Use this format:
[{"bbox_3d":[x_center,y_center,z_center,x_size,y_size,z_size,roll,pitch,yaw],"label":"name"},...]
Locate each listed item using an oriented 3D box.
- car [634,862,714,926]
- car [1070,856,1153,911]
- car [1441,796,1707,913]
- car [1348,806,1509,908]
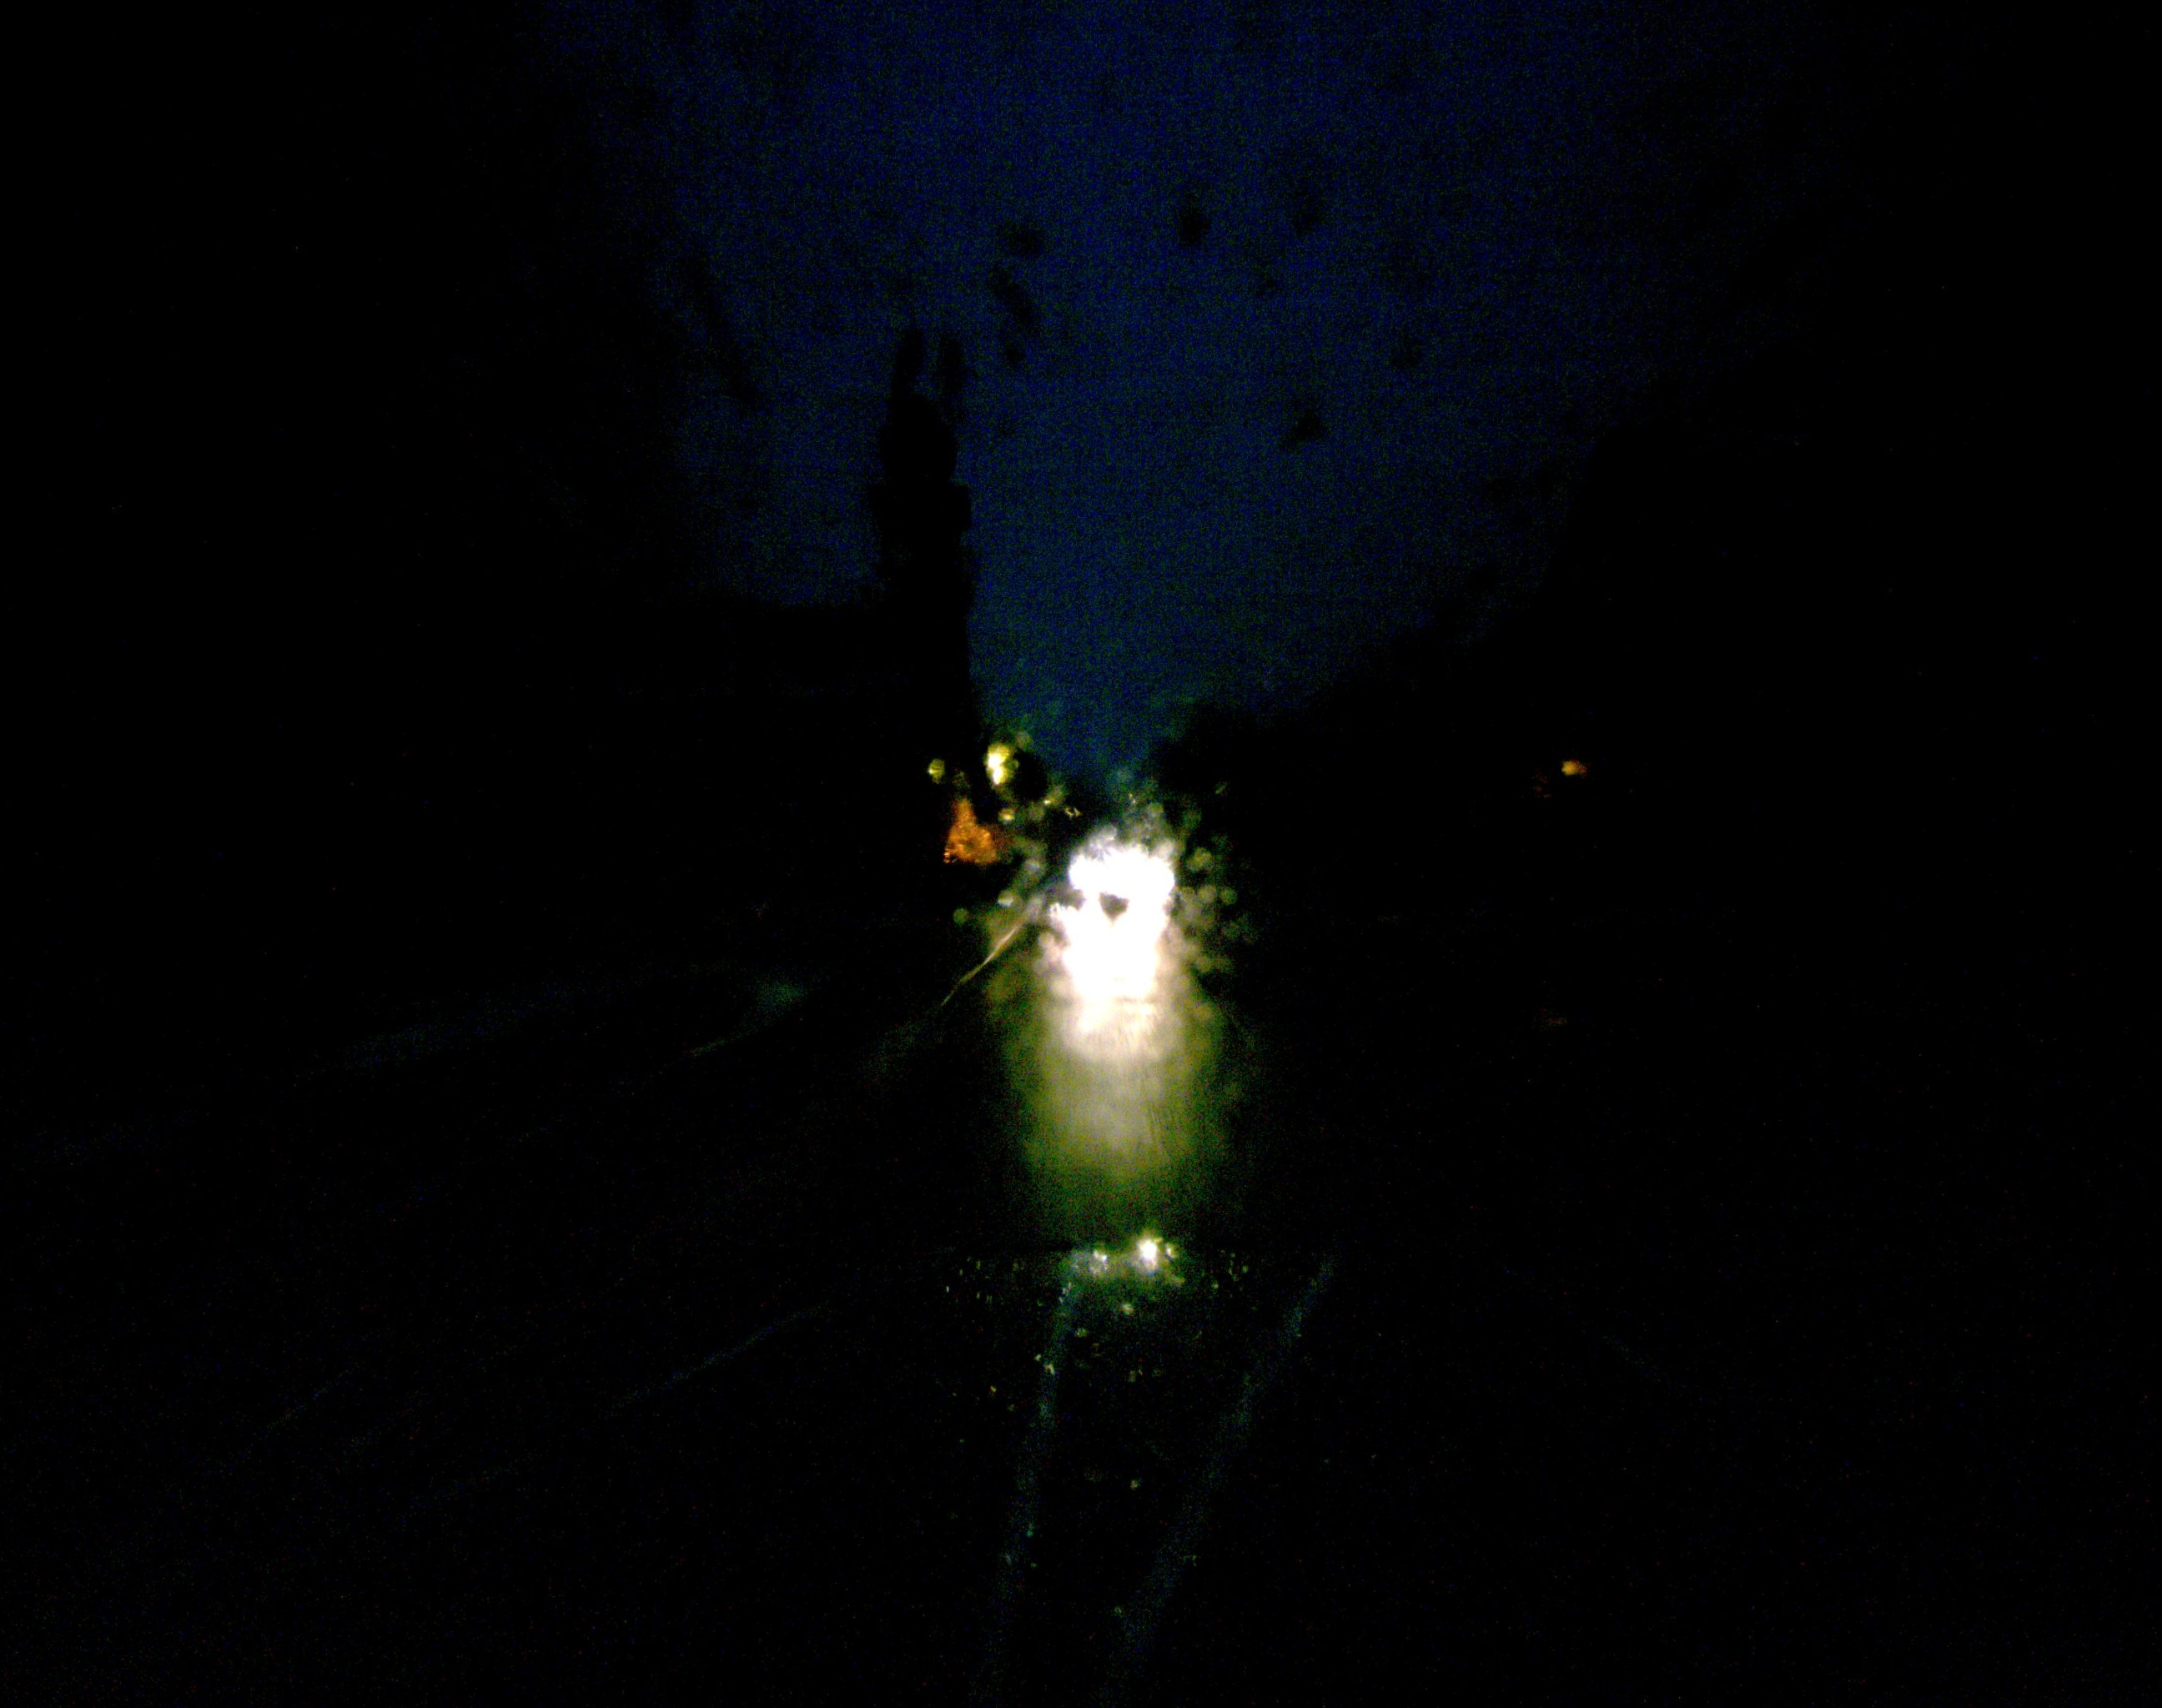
[{"bbox_3d":[-11.351,1.034,21.278,1.758,1.405,4.071,-2,2,-27],"label":"car"},{"bbox_3d":[0.741,0.771,21.968,1.999,1.373,4.933,-1,0,-2],"label":"car"},{"bbox_3d":[9.424,0.003,14.763,3.997,2.002,1.758,-2,1,1],"label":"car"},{"bbox_3d":[8.324,0.041,18.670,1.998,2.025,4.081,-6,1,1],"label":"car"}]
